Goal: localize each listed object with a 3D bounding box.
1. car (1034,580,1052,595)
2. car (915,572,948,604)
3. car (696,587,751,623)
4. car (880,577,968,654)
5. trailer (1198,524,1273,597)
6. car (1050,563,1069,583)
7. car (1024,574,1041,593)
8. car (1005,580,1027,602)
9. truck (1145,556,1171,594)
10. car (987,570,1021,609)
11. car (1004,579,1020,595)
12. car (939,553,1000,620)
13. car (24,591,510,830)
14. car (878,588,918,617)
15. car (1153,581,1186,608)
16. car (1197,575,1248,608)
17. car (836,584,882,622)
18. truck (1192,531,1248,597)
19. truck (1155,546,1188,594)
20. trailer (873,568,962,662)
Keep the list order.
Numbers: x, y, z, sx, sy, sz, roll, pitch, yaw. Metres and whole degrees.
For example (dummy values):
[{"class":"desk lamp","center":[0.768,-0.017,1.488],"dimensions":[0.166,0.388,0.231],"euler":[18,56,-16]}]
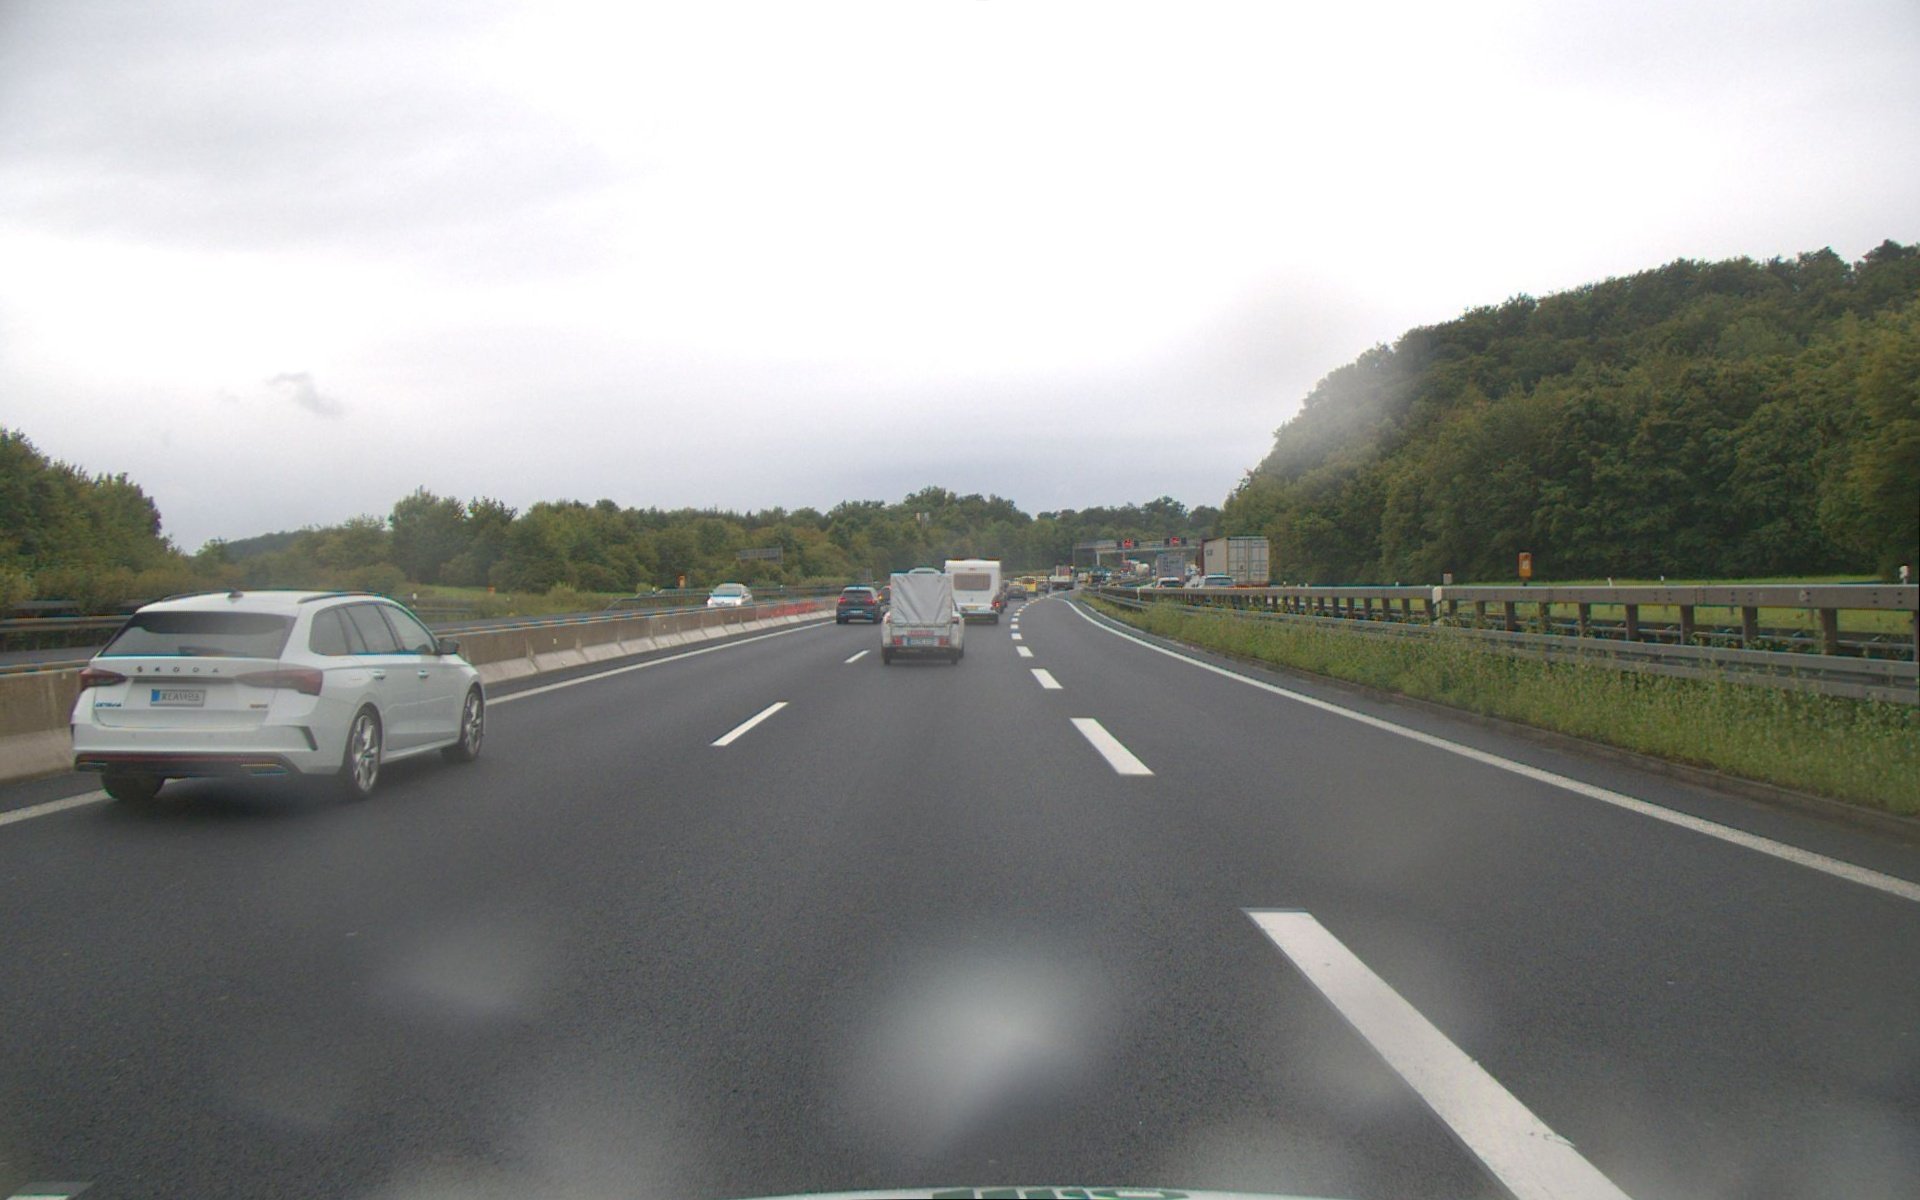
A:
[{"class":"car","center":[9.692,-1.497,193.297],"dimensions":[1.995,1.712,4.002],"euler":[-1,0,4]},{"class":"car","center":[-1.757,-0.709,103.888],"dimensions":[1.952,1.952,4.000],"euler":[-1,0,0]},{"class":"car","center":[-11.847,0.236,83.046],"dimensions":[1.952,1.741,4.304],"euler":[-1,0,2]},{"class":"car","center":[-0.761,0.330,37.769],"dimensions":[1.781,1.644,4.778],"euler":[-1,0,1]},{"class":"trailer","center":[15.998,-2.156,96.853],"dimensions":[2.550,3.962,12.492],"euler":[-1,0,1]},{"class":"car","center":[13.744,-3.747,227.889],"dimensions":[2.463,2.619,5.314],"euler":[-1,0,4]},{"class":"car","center":[7.541,-1.707,172.202],"dimensions":[1.640,1.844,4.002],"euler":[-1,0,5]},{"class":"car","center":[4.813,-0.741,142.096],"dimensions":[1.641,1.844,3.999],"euler":[-1,0,-1]},{"class":"truck","center":[26.290,-3.258,219.089],"dimensions":[3.147,4.748,13.042],"euler":[-1,0,7]},{"class":"car","center":[2.443,-0.556,91.329],"dimensions":[1.640,2.103,4.002],"euler":[-1,0,4]},{"class":"car","center":[6.850,-1.657,217.179],"dimensions":[1.952,2.049,4.001],"euler":[-1,0,3]},{"class":"car","center":[0.445,-0.544,69.390],"dimensions":[2.456,2.630,5.700],"euler":[-1,0,1]},{"class":"car","center":[-5.002,0.692,12.786],"dimensions":[1.781,1.481,4.777],"euler":[-1,0,-1]},{"class":"car","center":[-3.185,0.121,85.685],"dimensions":[1.728,1.481,4.001],"euler":[-1,0,2]},{"class":"car","center":[13.243,-0.338,104.638],"dimensions":[1.733,1.638,4.645],"euler":[-1,0,3]},{"class":"car","center":[11.980,-0.372,75.588],"dimensions":[1.633,1.407,4.126],"euler":[-3,0,0]},{"class":"car","center":[-4.099,0.130,67.600],"dimensions":[1.641,1.481,3.999],"euler":[-1,0,-1]},{"class":"truck","center":[16.181,-2.156,103.232],"dimensions":[2.562,3.952,6.393],"euler":[-1,0,1]},{"class":"truck","center":[21.882,-3.023,171.761],"dimensions":[3.147,4.748,13.042],"euler":[-1,0,6]},{"class":"trailer","center":[-0.829,0.294,34.441],"dimensions":[1.641,1.844,4.001],"euler":[-1,0,1]}]
